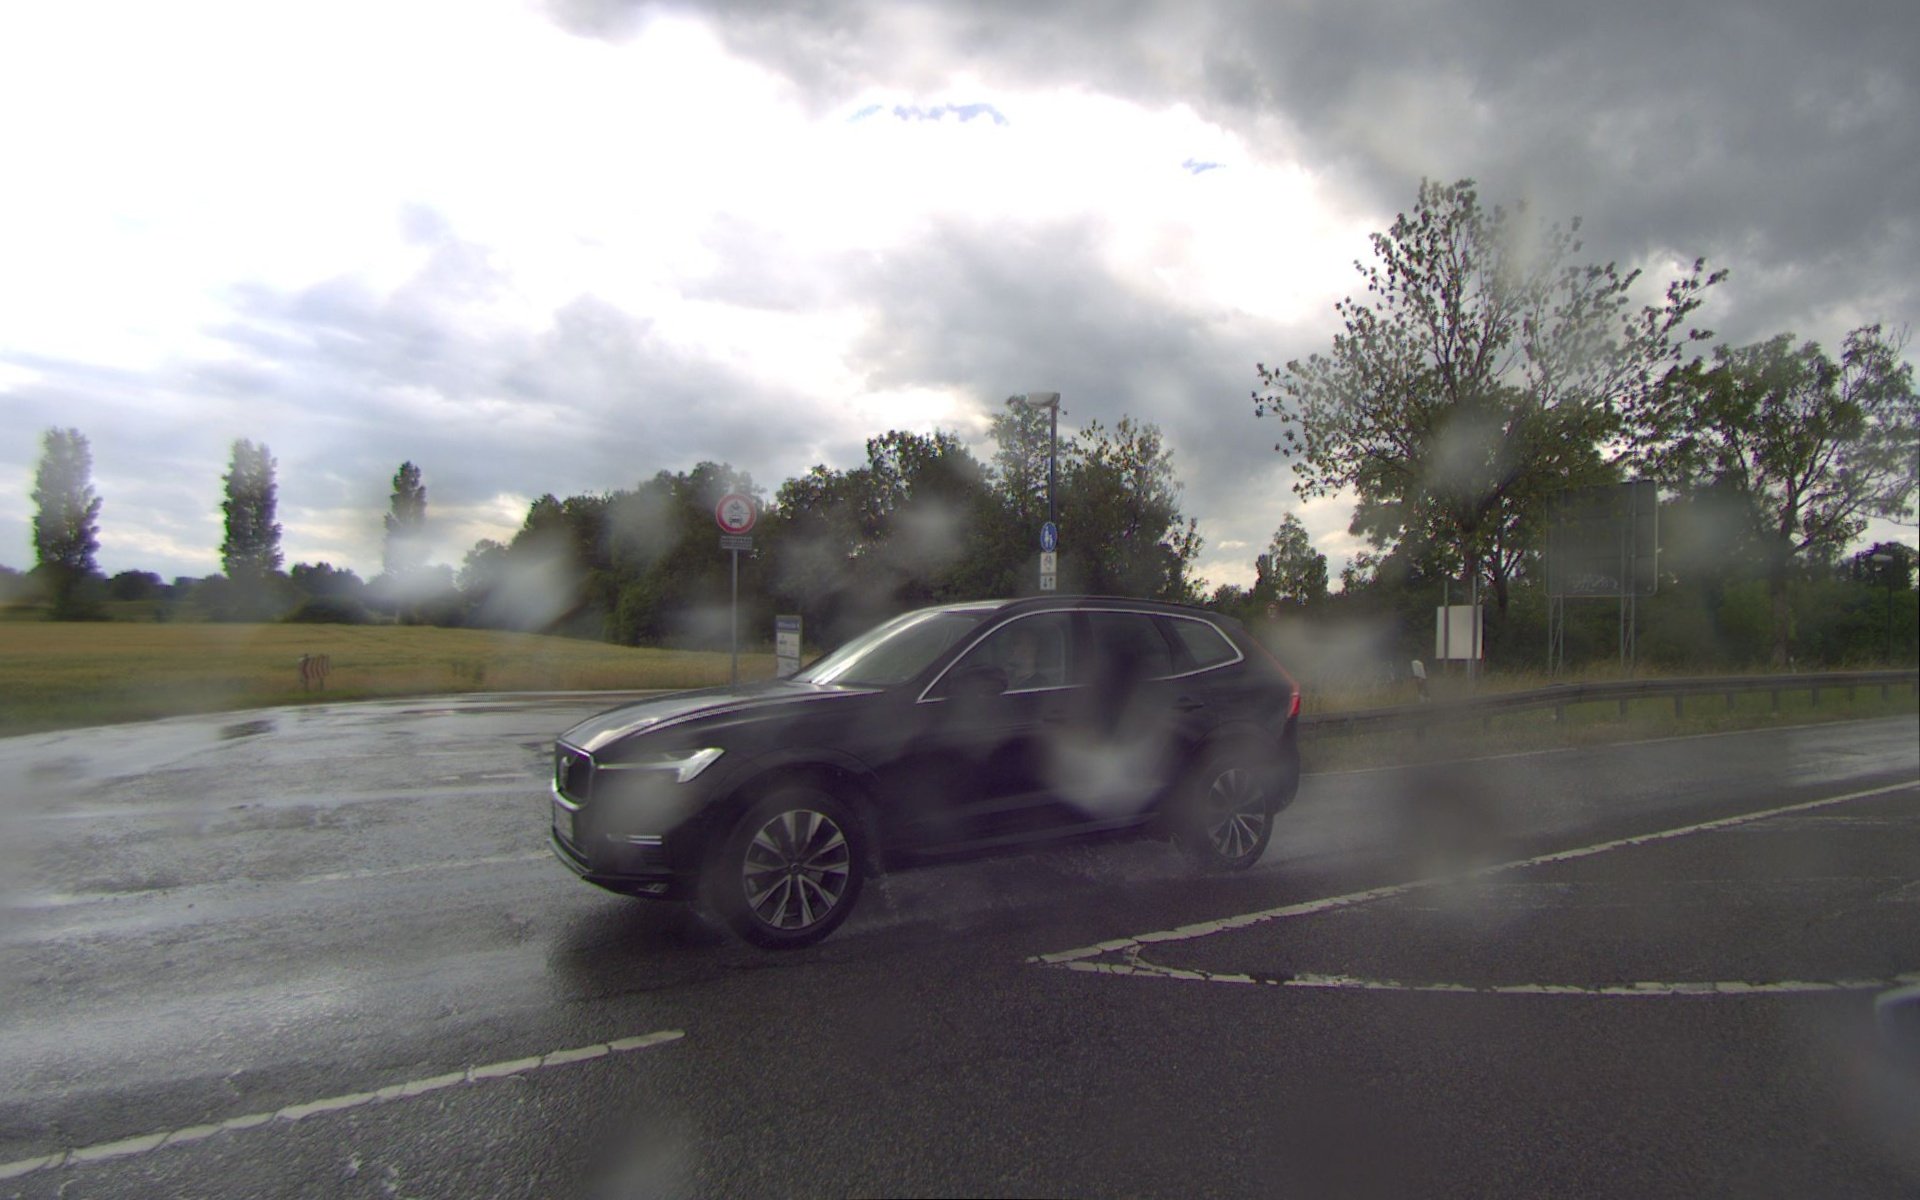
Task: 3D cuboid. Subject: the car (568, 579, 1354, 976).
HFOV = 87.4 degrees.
[{"bbox_3d":[0.125,0.790,6.059,4.392,1.601,1.934,1,-2,-31],"label":"car"}]
